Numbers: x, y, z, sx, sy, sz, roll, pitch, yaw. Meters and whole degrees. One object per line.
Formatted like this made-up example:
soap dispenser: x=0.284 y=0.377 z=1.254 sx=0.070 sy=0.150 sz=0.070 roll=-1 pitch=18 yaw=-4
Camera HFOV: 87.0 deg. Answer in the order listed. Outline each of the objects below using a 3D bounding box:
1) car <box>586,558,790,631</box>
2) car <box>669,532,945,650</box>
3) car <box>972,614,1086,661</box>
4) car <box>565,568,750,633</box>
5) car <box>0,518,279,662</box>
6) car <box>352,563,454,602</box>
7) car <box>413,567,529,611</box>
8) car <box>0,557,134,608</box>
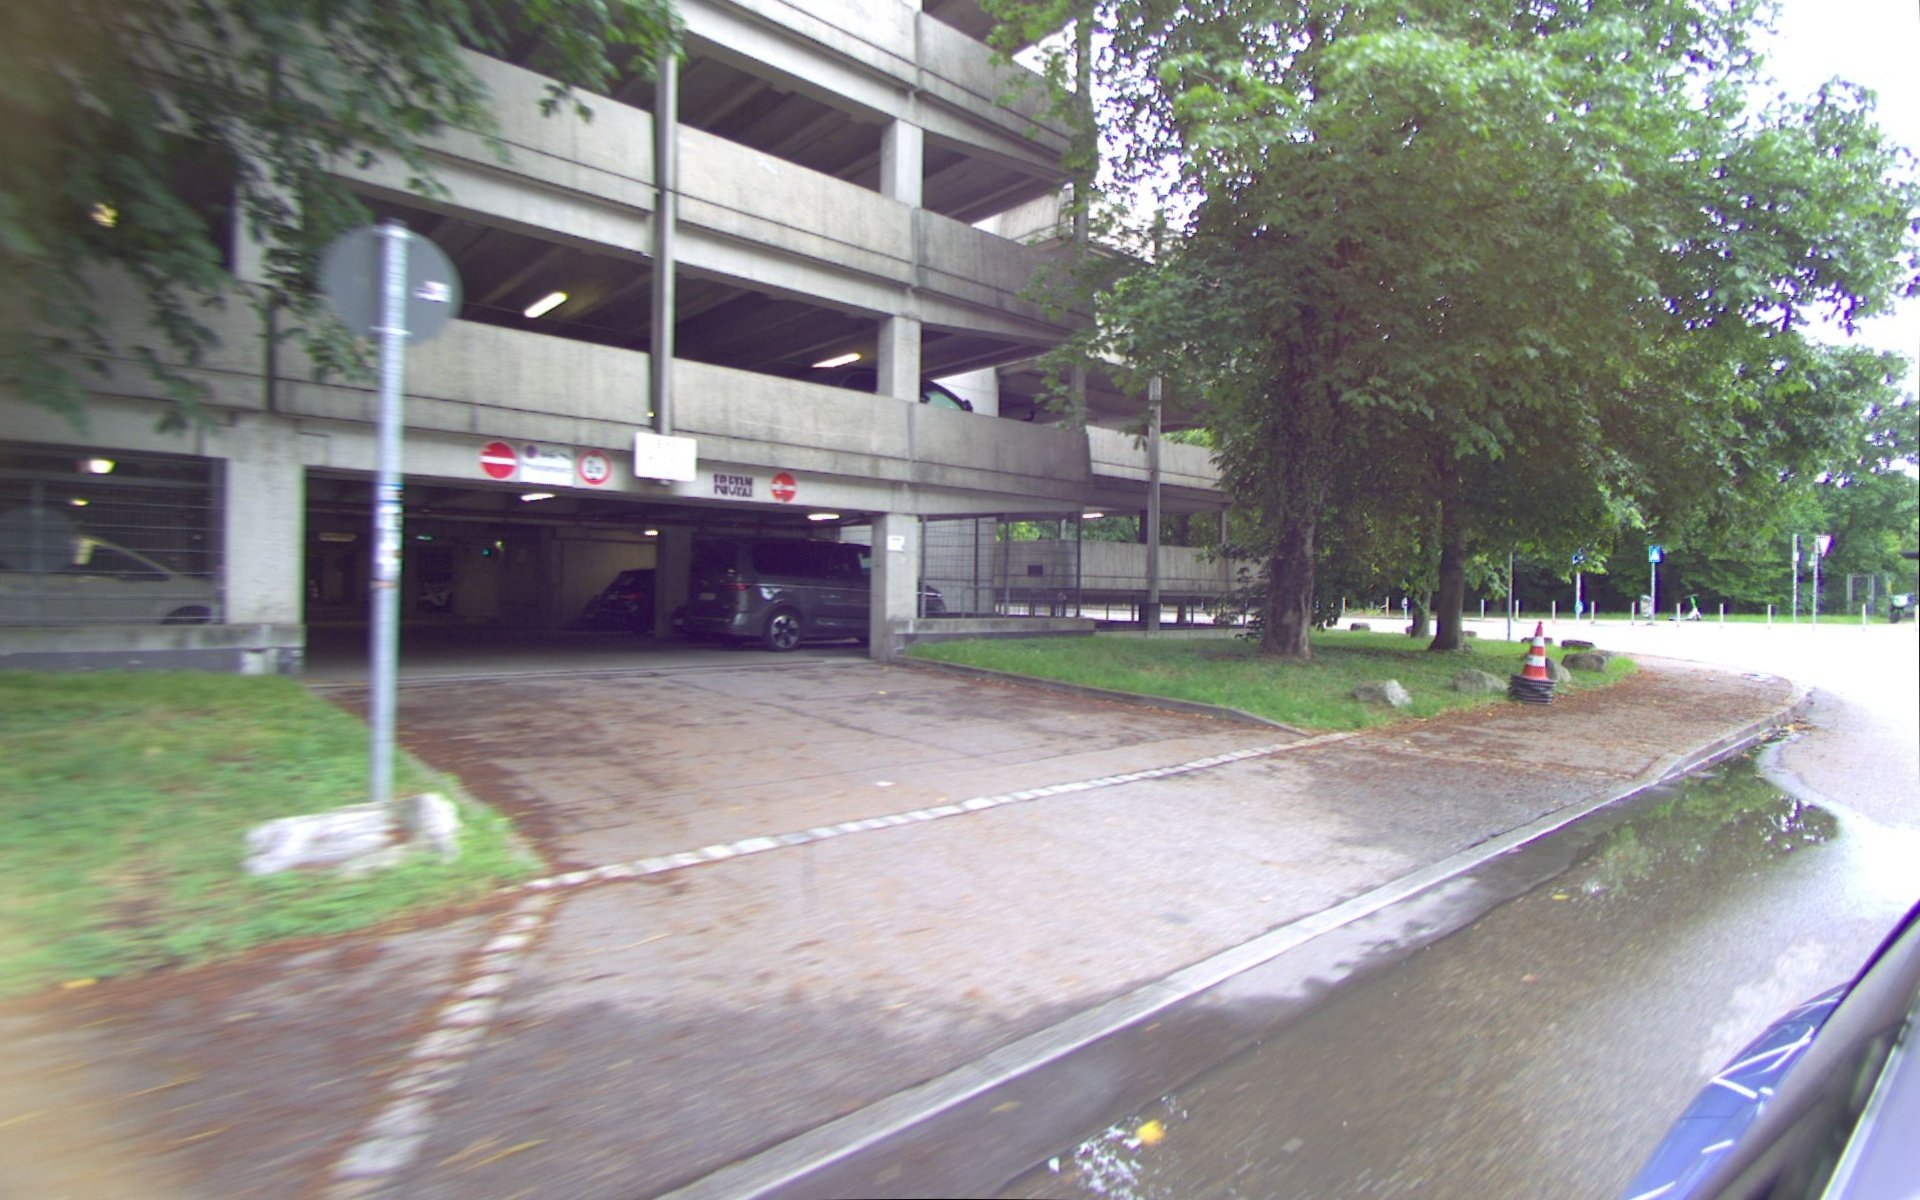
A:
car: x=-5.936 y=-0.161 z=22.312 sx=3.929 sy=1.471 sz=1.876 roll=-1 pitch=1 yaw=-40
car: x=-2.624 y=-0.151 z=18.160 sx=4.656 sy=1.858 sz=1.921 roll=0 pitch=0 yaw=-43
car: x=2.537 y=1.311 z=36.769 sx=3.929 sy=1.471 sz=1.876 roll=-1 pitch=1 yaw=-40
car: x=-7.335 y=-0.030 z=24.698 sx=3.929 sy=1.471 sz=1.876 roll=-1 pitch=1 yaw=-40
car: x=-11.655 y=-0.130 z=13.056 sx=4.589 sy=1.730 sz=1.587 roll=-2 pitch=1 yaw=-43
car: x=-21.363 y=-0.672 z=38.869 sx=3.152 sy=1.446 sz=1.509 roll=-2 pitch=1 yaw=-44
car: x=-16.081 y=-0.376 z=33.356 sx=3.152 sy=1.377 sz=1.509 roll=-2 pitch=1 yaw=-44
car: x=-26.746 y=-0.531 z=30.187 sx=3.152 sy=1.446 sz=1.509 roll=-2 pitch=1 yaw=-44
